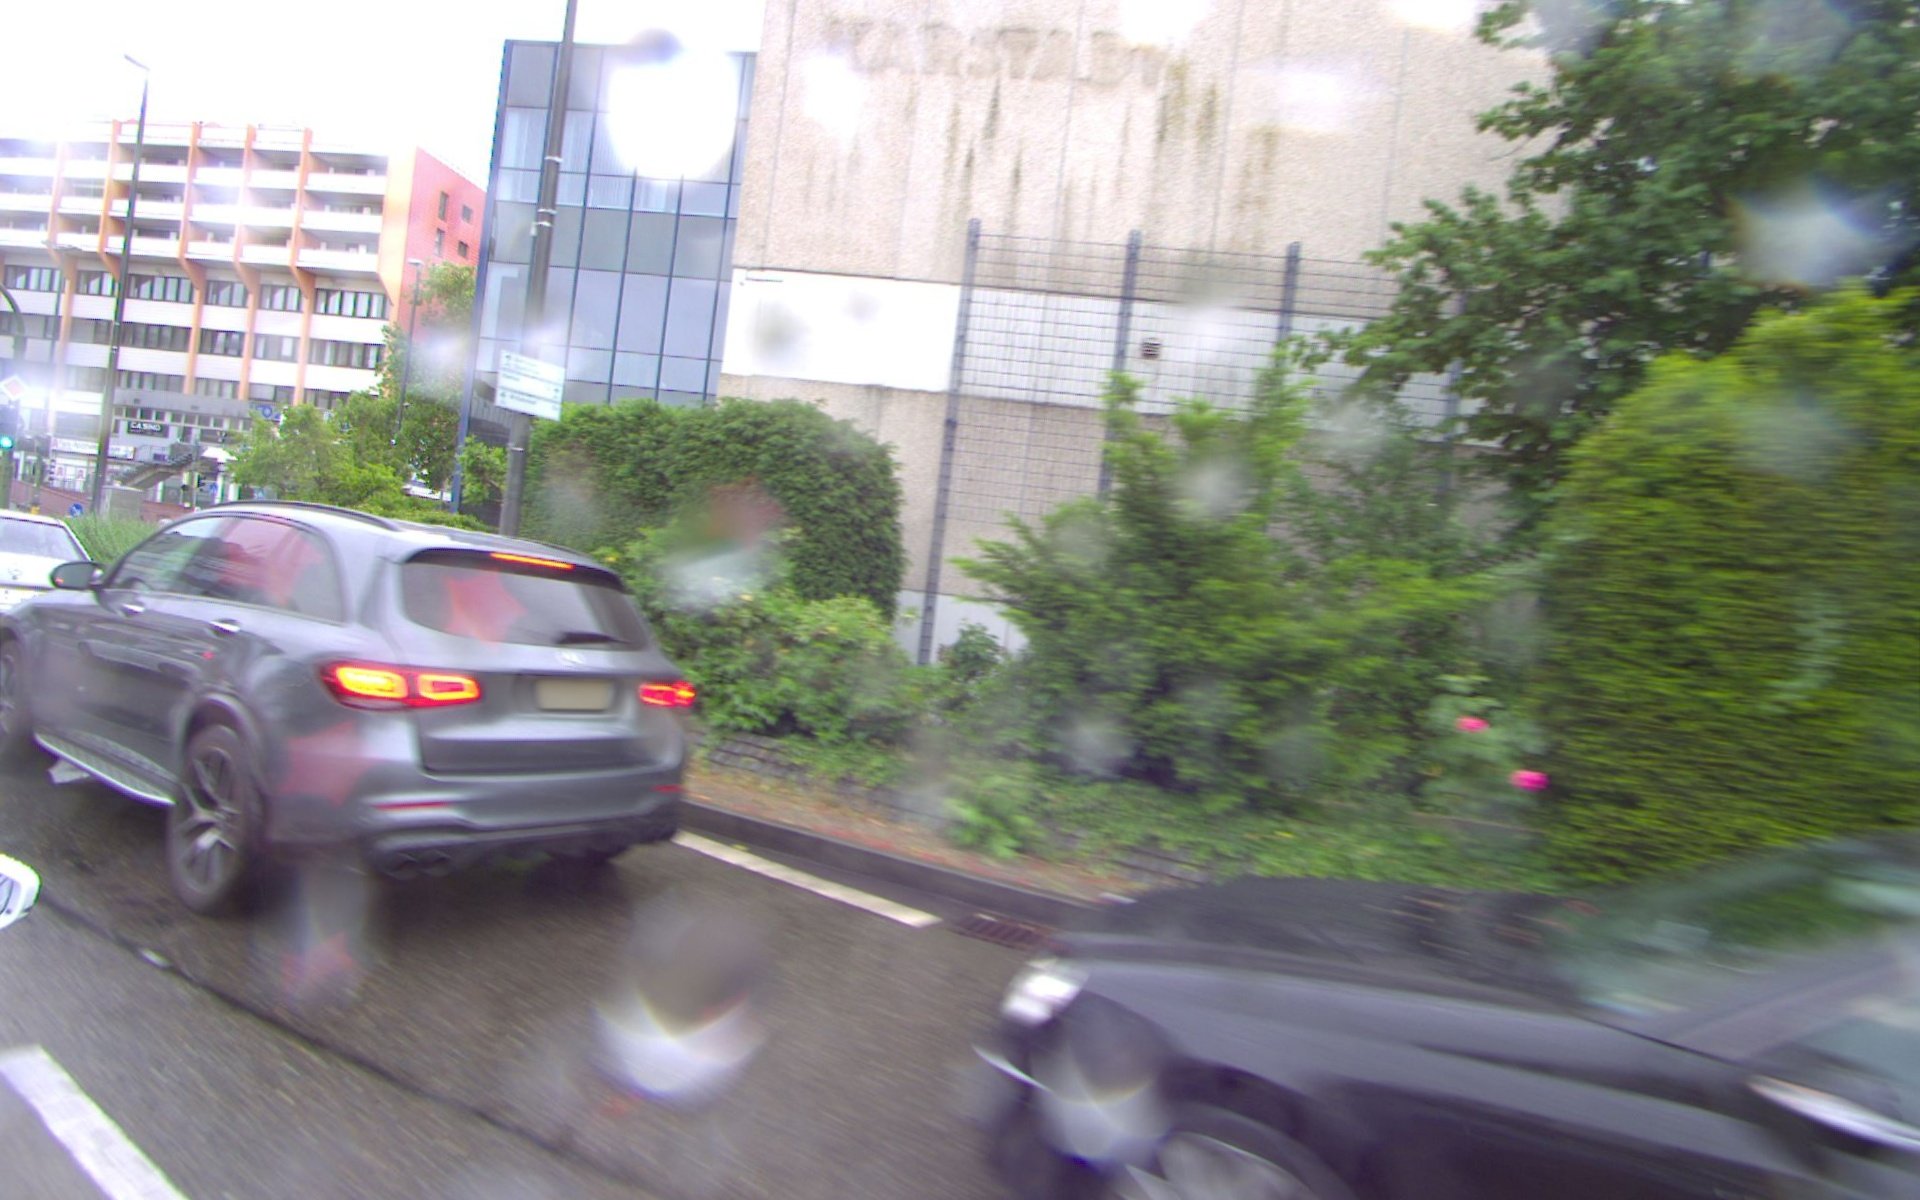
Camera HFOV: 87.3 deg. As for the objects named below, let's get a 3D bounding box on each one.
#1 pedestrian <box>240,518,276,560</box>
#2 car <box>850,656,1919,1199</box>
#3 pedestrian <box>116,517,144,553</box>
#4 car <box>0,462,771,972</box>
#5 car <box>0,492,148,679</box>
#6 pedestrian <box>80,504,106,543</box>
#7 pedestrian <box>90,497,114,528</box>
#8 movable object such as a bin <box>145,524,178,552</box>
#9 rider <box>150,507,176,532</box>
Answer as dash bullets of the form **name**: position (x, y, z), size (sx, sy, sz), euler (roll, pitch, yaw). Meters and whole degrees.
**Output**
- **pedestrian**: position (-31.531, -2.730, 45.198), size (1.110, 1.711, 0.829), euler (6, 0, 31)
- **car**: position (2.113, 1.130, 2.004), size (4.438, 1.402, 1.635), euler (7, -1, 30)
- **pedestrian**: position (-42.236, -3.331, 51.192), size (0.916, 1.689, 0.794), euler (6, 0, 36)
- **car**: position (-3.313, 0.324, 5.356), size (4.265, 1.640, 1.904), euler (7, -1, 33)
- **car**: position (-9.445, -0.286, 9.454), size (4.202, 1.464, 1.636), euler (5, -3, 36)
- **pedestrian**: position (-39.931, -3.522, 46.323), size (0.706, 1.625, 0.648), euler (10, -2, -43)
- **pedestrian**: position (-39.793, -4.049, 46.657), size (0.705, 1.362, 0.647), euler (5, 0, -44)
- **movable object such as a bin**: position (-44.879, -3.490, 56.546), size (1.435, 1.347, 1.128), euler (5, -2, 42)
- **rider**: position (-44.740, -4.529, 56.476), size (1.075, 1.302, 0.920), euler (8, 3, 42)
